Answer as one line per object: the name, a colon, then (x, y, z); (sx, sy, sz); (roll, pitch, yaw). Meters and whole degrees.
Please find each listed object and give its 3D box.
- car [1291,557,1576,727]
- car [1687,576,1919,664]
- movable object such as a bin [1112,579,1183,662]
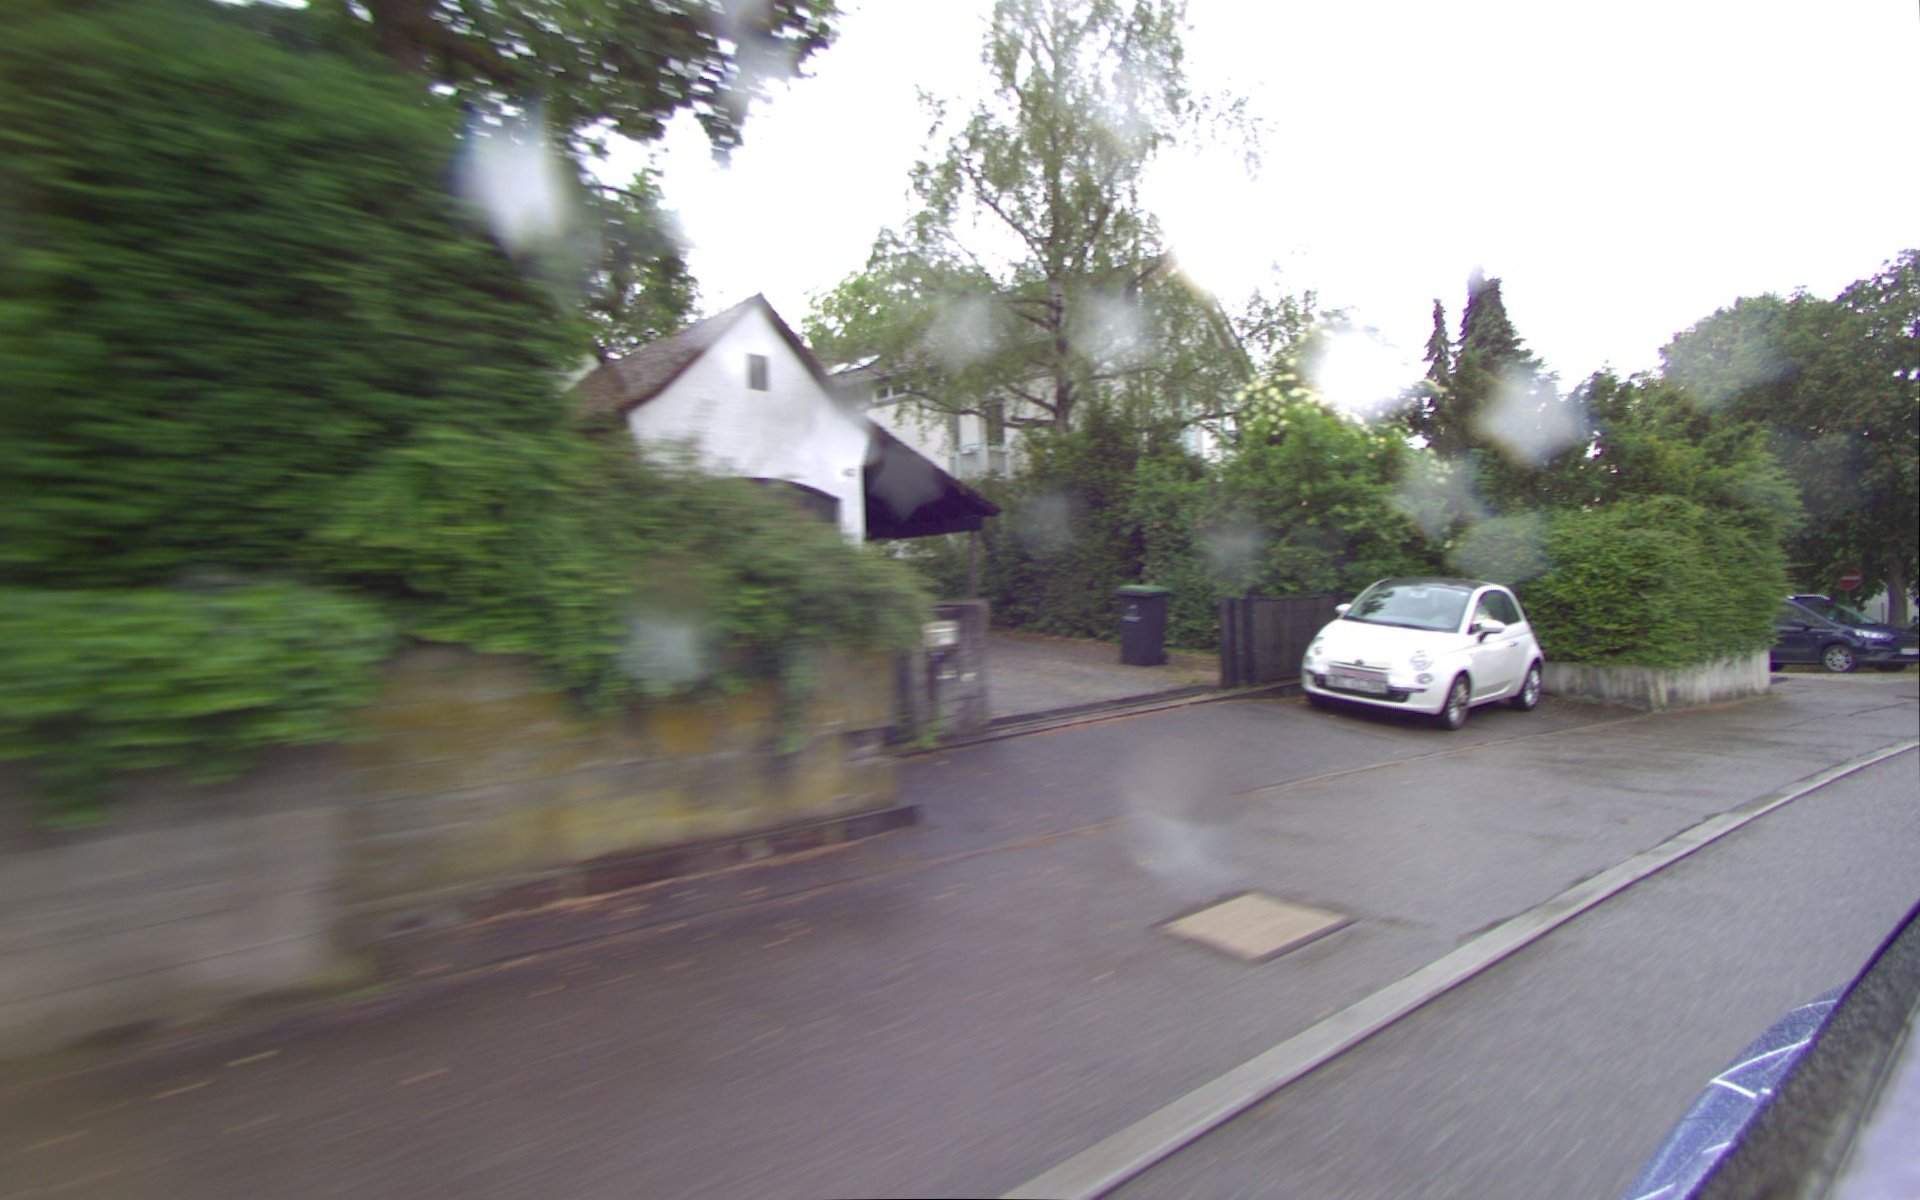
car: (5.489, 0.397, 11.528); (3.779, 1.554, 1.535); (1, 4, -43)
car: (18.864, 0.491, 22.384); (1.692, 1.739, 4.352); (-1, -3, -15)
movable object such as a bin: (2.486, 0.253, 13.430); (0.689, 1.022, 0.636); (-2, 5, -41)
